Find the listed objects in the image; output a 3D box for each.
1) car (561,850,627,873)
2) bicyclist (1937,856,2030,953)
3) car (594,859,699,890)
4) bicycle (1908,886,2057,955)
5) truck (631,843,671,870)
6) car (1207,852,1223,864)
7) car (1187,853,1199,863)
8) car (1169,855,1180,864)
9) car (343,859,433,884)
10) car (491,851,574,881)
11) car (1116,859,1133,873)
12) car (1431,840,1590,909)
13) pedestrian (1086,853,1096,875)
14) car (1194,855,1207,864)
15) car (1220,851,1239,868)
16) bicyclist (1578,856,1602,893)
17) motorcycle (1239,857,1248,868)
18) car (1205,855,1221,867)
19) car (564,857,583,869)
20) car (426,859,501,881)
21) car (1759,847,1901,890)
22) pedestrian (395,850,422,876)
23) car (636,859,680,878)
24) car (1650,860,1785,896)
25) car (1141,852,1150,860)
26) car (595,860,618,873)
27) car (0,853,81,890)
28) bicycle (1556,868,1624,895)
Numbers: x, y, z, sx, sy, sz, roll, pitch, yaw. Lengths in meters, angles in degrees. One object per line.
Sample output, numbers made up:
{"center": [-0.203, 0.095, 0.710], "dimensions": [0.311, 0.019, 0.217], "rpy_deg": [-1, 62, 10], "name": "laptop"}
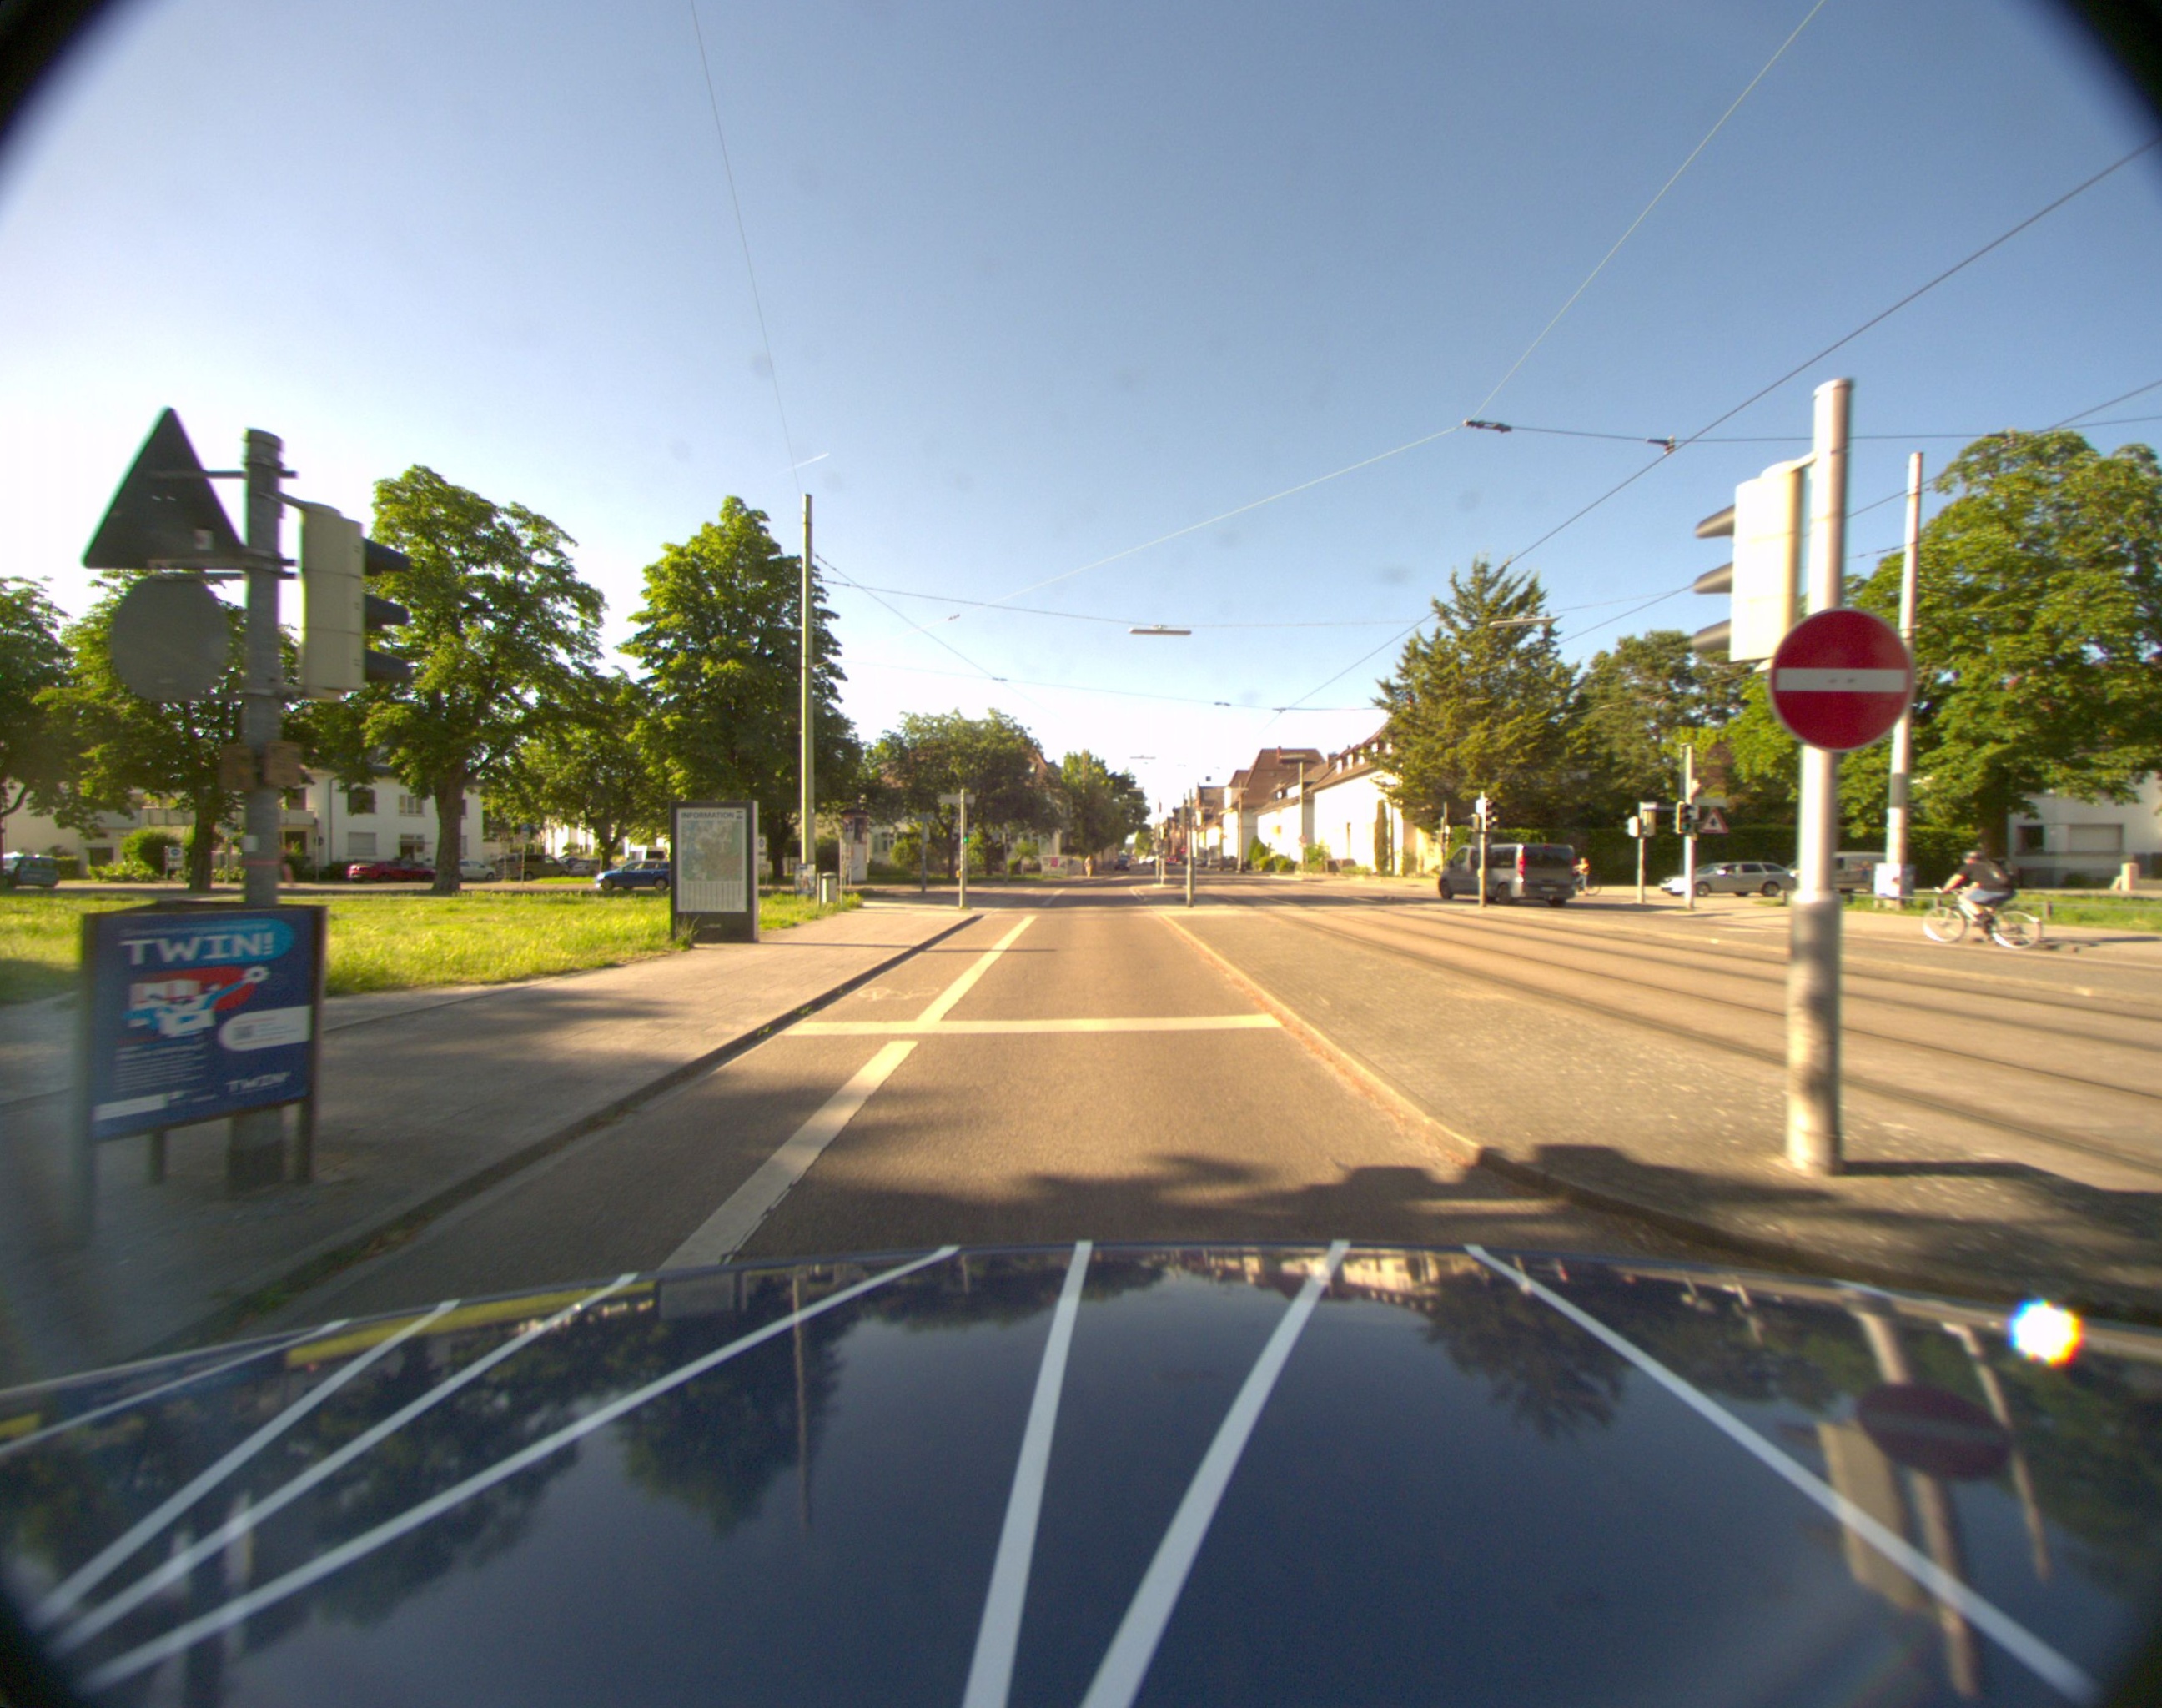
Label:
{"center": [-35.042, 0.546, 54.792], "dimensions": [1.920, 1.638, 3.717], "rpy_deg": [0, 0, 13], "name": "car"}
{"center": [16.473, 0.898, 13.893], "dimensions": [0.588, 1.701, 0.901], "rpy_deg": [1, 0, 1], "name": "bicyclist"}
{"center": [-20.734, 0.962, 36.373], "dimensions": [3.996, 1.425, 1.816], "rpy_deg": [0, 1, 2], "name": "car"}
{"center": [16.498, 1.183, 13.982], "dimensions": [0.588, 1.107, 1.827], "rpy_deg": [1, 0, 1], "name": "bicycle"}
{"center": [-40.996, 0.232, 72.356], "dimensions": [4.966, 2.561, 2.004], "rpy_deg": [0, 0, 44], "name": "truck"}
{"center": [19.133, 0.569, 108.677], "dimensions": [1.923, 1.704, 4.002], "rpy_deg": [-2, 0, 5], "name": "car"}
{"center": [21.326, 0.740, 144.478], "dimensions": [1.923, 1.704, 4.002], "rpy_deg": [-2, -1, 5], "name": "car"}
{"center": [17.703, 1.041, 144.056], "dimensions": [1.923, 1.704, 4.003], "rpy_deg": [-2, 0, 8], "name": "car"}
{"center": [-42.448, 1.050, 46.666], "dimensions": [1.757, 1.462, 3.898], "rpy_deg": [0, 0, 6], "name": "car"}
{"center": [-35.609, 0.755, 49.474], "dimensions": [1.920, 1.825, 4.345], "rpy_deg": [0, 0, 8], "name": "car"}
{"center": [5.278, 1.452, 92.058], "dimensions": [1.704, 1.541, 4.003], "rpy_deg": [-2, 0, 9], "name": "car"}
{"center": [13.961, 0.657, 25.154], "dimensions": [2.025, 2.001, 5.249], "rpy_deg": [2, -1, -3], "name": "car"}
{"center": [0.788, 0.777, 59.674], "dimensions": [0.654, 1.664, 0.944], "rpy_deg": [1, 0, 6], "name": "pedestrian"}
{"center": [20.409, 0.965, 129.750], "dimensions": [1.923, 1.555, 4.003], "rpy_deg": [-2, 0, 8], "name": "car"}
{"center": [18.327, 0.679, 93.912], "dimensions": [1.923, 1.889, 4.002], "rpy_deg": [-2, 0, 6], "name": "car"}
{"center": [22.095, 0.877, 33.007], "dimensions": [0.559, 1.613, 0.899], "rpy_deg": [0, 0, 12], "name": "bicyclist"}
{"center": [16.906, 0.875, 79.172], "dimensions": [0.605, 1.040, 2.438], "rpy_deg": [-2, 0, 6], "name": "motorcycle"}
{"center": [19.940, 1.069, 114.754], "dimensions": [1.923, 1.704, 4.001], "rpy_deg": [-2, 0, 4], "name": "car"}
{"center": [-68.331, 1.197, 102.288], "dimensions": [1.763, 1.462, 3.885], "rpy_deg": [0, 0, -40], "name": "car"}
{"center": [-42.085, 1.049, 51.894], "dimensions": [1.757, 1.462, 3.898], "rpy_deg": [0, 0, 6], "name": "car"}
{"center": [33.180, 0.611, 33.767], "dimensions": [4.310, 1.856, 1.817], "rpy_deg": [0, 1, 6], "name": "car"}
{"center": [-45.820, 0.606, 51.766], "dimensions": [1.024, 1.758, 0.900], "rpy_deg": [-2, 0, 7], "name": "pedestrian"}
{"center": [-34.223, 1.190, 61.551], "dimensions": [1.607, 1.525, 4.280], "rpy_deg": [0, -1, -8], "name": "car"}
{"center": [26.637, 0.983, 31.929], "dimensions": [3.994, 1.425, 1.818], "rpy_deg": [0, 0, 9], "name": "car"}
{"center": [14.653, 0.407, 172.379], "dimensions": [1.923, 1.704, 4.002], "rpy_deg": [-2, 0, 6], "name": "car"}
{"center": [-55.632, 1.461, 89.039], "dimensions": [1.763, 1.462, 3.885], "rpy_deg": [0, 0, -40], "name": "car"}
{"center": [-56.429, 0.939, 40.539], "dimensions": [3.995, 1.815, 1.817], "rpy_deg": [-2, 2, 6], "name": "car"}
{"center": [22.069, 1.188, 33.005], "dimensions": [2.283, 1.111, 0.931], "rpy_deg": [0, 0, 11], "name": "bicycle"}
